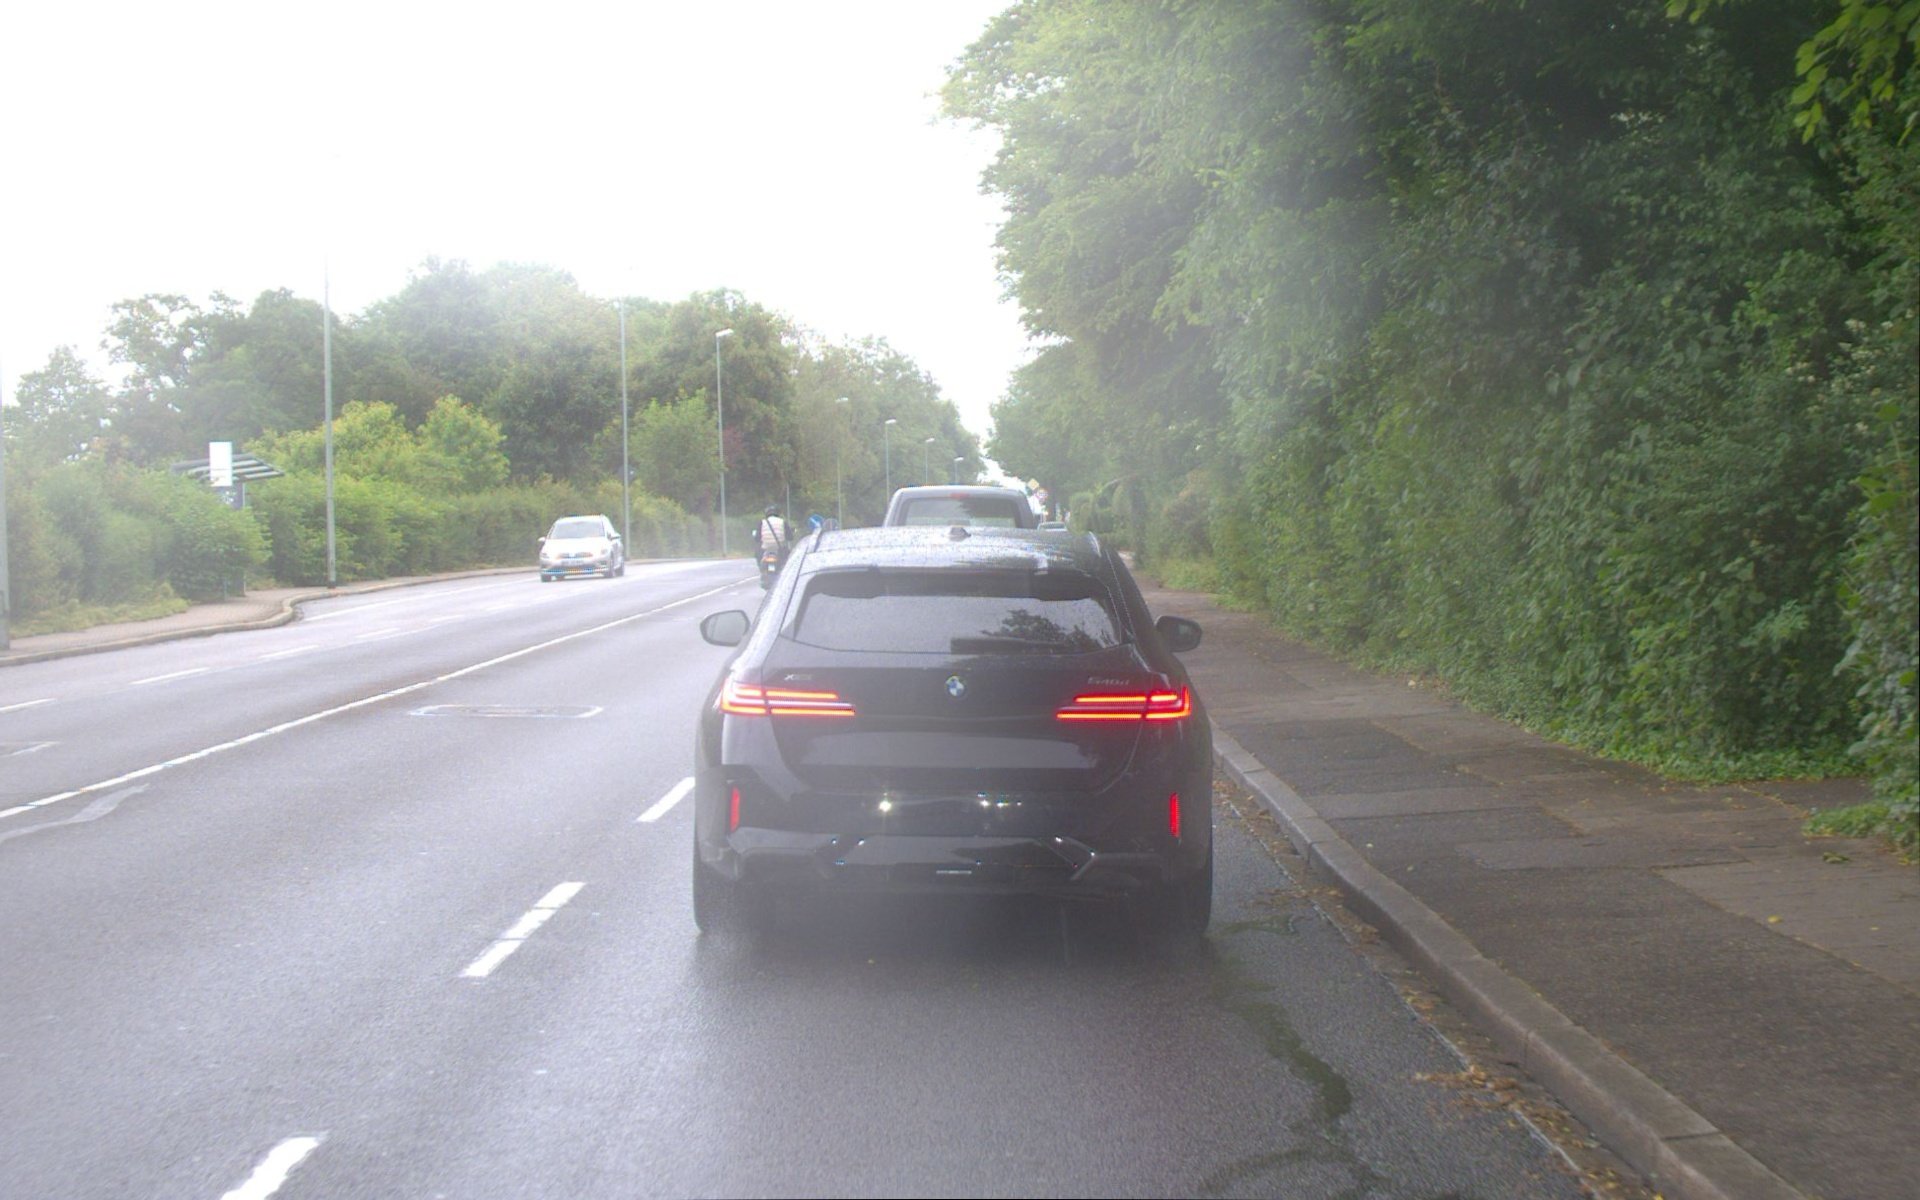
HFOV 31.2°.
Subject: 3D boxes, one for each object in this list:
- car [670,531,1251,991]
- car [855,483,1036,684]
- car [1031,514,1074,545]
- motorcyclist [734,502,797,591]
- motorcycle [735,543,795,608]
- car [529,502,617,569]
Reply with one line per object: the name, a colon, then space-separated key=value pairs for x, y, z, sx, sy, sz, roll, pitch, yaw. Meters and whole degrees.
car: x=0.051 y=0.505 z=13.403 sx=1.897 sy=1.484 sz=4.000 roll=1 pitch=1 yaw=2
car: x=-0.120 y=-0.199 z=33.949 sx=1.629 sy=1.827 sz=4.000 roll=-2 pitch=1 yaw=1
car: x=4.478 y=-3.400 z=165.976 sx=1.935 sy=1.437 sz=4.407 roll=-1 pitch=1 yaw=3
motorcyclist: x=-3.434 y=-0.944 z=60.854 sx=1.039 sy=1.562 sz=0.855 roll=1 pitch=0 yaw=0
motorcycle: x=-3.434 y=-0.433 z=60.811 sx=0.876 sy=1.120 sz=2.741 roll=1 pitch=0 yaw=0
car: x=-9.638 y=-1.622 z=85.902 sx=1.756 sy=1.563 sz=4.000 roll=-2 pitch=1 yaw=-1
